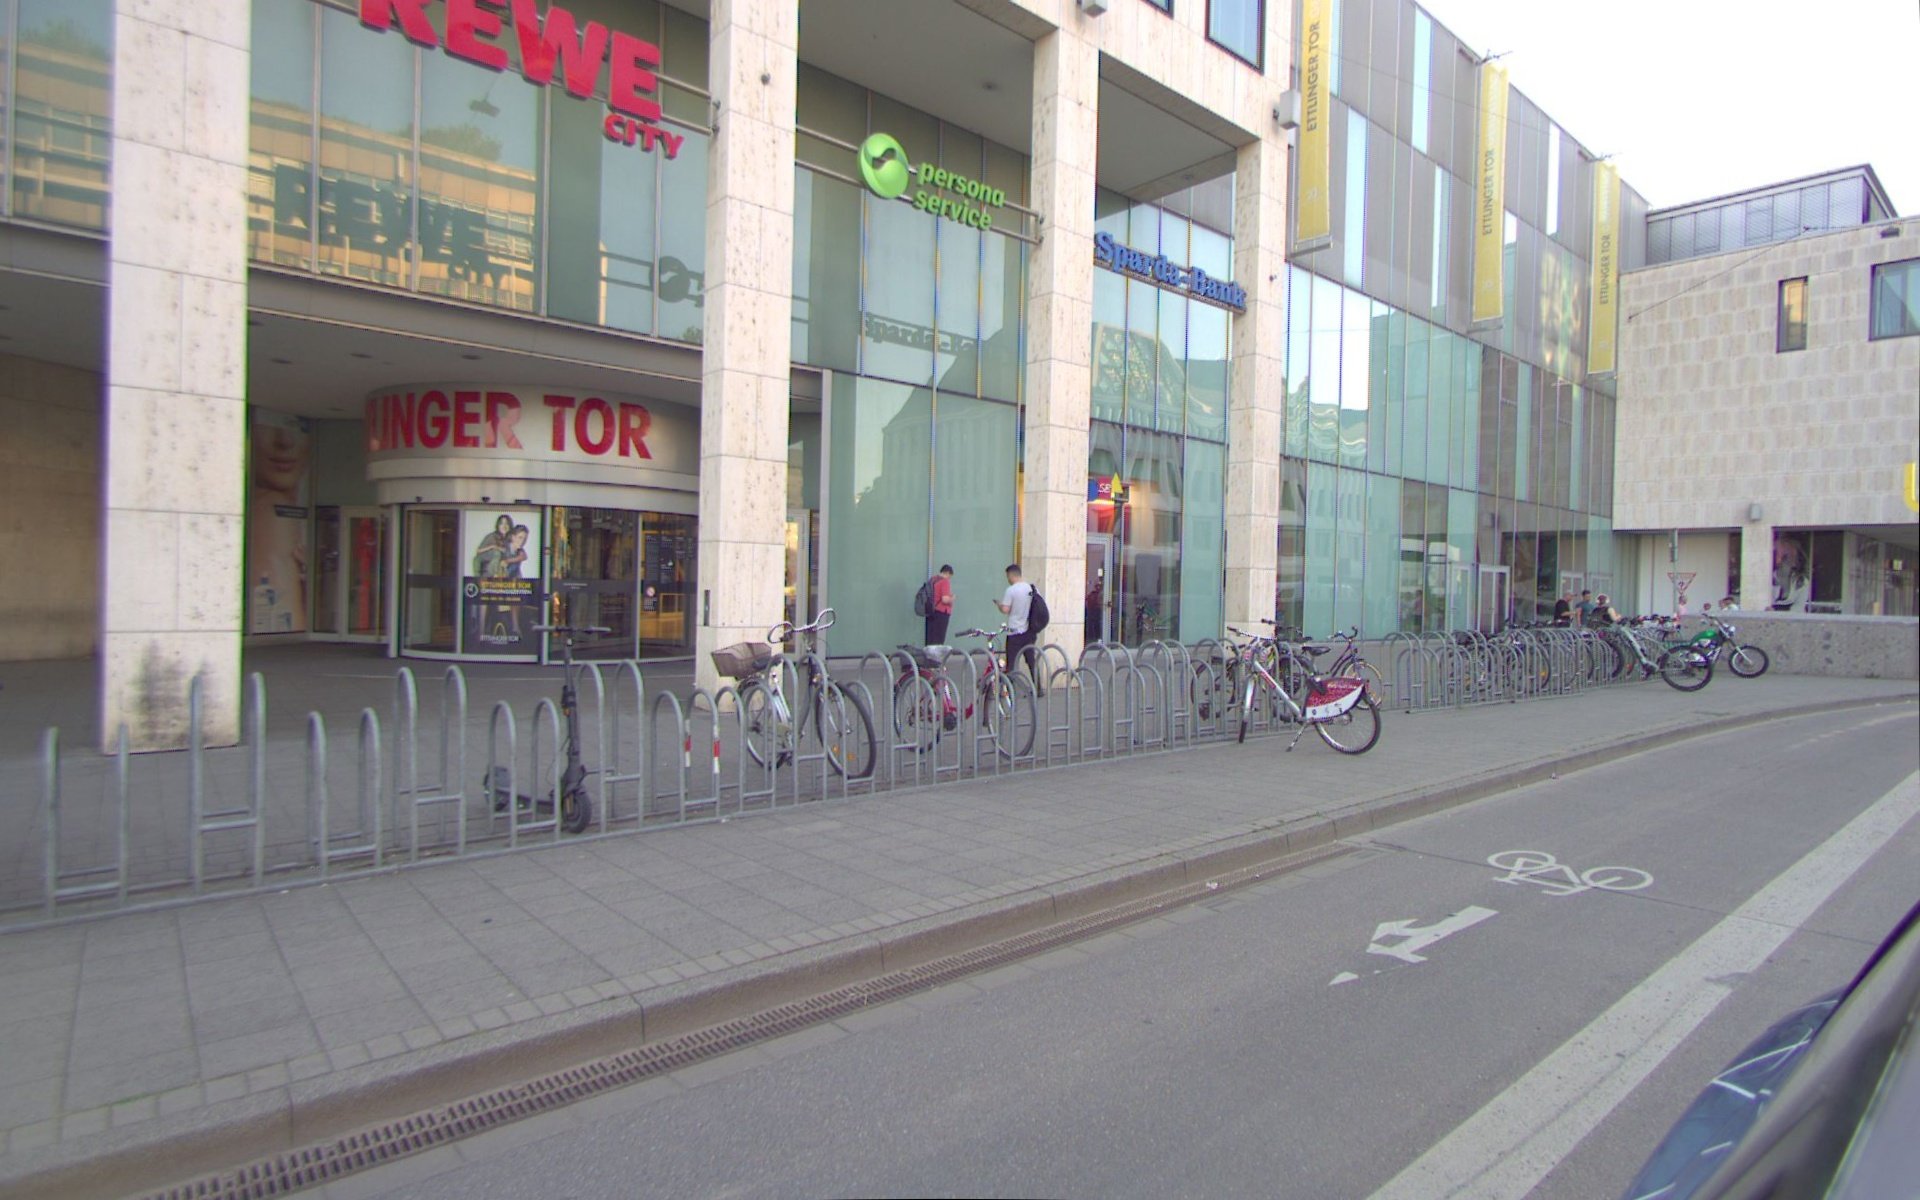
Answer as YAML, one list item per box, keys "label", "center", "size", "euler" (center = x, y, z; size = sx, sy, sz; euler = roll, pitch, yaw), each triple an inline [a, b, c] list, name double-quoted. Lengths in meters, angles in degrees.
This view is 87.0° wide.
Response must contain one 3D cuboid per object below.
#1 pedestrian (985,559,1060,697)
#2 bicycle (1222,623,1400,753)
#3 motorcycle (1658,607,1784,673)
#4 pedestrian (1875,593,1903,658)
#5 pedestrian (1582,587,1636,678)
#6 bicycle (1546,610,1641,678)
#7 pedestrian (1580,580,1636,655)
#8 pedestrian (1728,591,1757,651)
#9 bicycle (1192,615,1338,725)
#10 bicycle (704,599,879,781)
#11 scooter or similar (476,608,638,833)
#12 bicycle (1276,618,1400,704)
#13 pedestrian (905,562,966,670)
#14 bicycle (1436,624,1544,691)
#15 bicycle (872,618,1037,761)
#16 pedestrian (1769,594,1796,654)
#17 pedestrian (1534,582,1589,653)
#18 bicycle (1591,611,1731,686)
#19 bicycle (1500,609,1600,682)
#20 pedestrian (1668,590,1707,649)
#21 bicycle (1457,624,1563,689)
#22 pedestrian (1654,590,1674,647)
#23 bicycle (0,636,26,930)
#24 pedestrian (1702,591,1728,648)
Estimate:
- label: "pedestrian"
  center: [0.805, 0.343, 13.029]
  size: [0.618, 1.713, 0.707]
  euler: [1, 1, -40]
- label: "bicycle"
  center: [3.169, 0.758, 9.248]
  size: [0.458, 1.077, 1.518]
  euler: [1, -2, -39]
- label: "motorcycle"
  center: [15.577, 0.791, 20.767]
  size: [0.472, 1.239, 2.004]
  euler: [1, 1, -43]
- label: "pedestrian"
  center: [25.555, 0.696, 27.831]
  size: [0.483, 1.765, 0.455]
  euler: [1, 1, -38]
- label: "pedestrian"
  center: [12.354, 0.599, 19.275]
  size: [0.802, 1.663, 0.640]
  euler: [2, 1, 31]
- label: "bicycle"
  center: [11.392, 0.770, 18.220]
  size: [0.509, 1.179, 1.344]
  euler: [1, -2, -41]
- label: "pedestrian"
  center: [15.314, 0.404, 23.935]
  size: [0.804, 1.717, 0.699]
  euler: [1, 1, -3]
- label: "pedestrian"
  center: [23.594, 0.624, 30.514]
  size: [0.644, 1.765, 0.494]
  euler: [1, 1, -38]
- label: "bicycle"
  center: [3.377, 0.741, 11.310]
  size: [0.569, 1.138, 1.519]
  euler: [1, -2, -36]
- label: "bicycle"
  center: [-1.308, 0.623, 7.667]
  size: [0.607, 1.243, 1.517]
  euler: [1, -2, -41]
- label: "scooter or similar"
  center: [-2.521, 0.681, 6.276]
  size: [0.484, 1.214, 1.194]
  euler: [1, 1, -44]
- label: "bicycle"
  center: [5.011, 0.780, 13.450]
  size: [1.439, 1.078, 0.572]
  euler: [-1, -2, 39]
- label: "pedestrian"
  center: [-0.391, 0.247, 16.225]
  size: [0.695, 1.672, 0.629]
  euler: [1, 1, -40]
- label: "bicycle"
  center: [7.943, 0.842, 15.207]
  size: [0.509, 0.944, 1.344]
  euler: [1, -2, -41]
- label: "bicycle"
  center: [-0.077, 0.712, 8.670]
  size: [0.543, 1.120, 1.516]
  euler: [1, -2, -43]
- label: "pedestrian"
  center: [24.605, 0.723, 30.267]
  size: [0.483, 1.765, 0.504]
  euler: [1, 1, -38]
- label: "pedestrian"
  center: [14.523, 0.412, 24.456]
  size: [0.804, 1.668, 0.741]
  euler: [1, 1, -4]
- label: "bicycle"
  center: [11.564, 0.774, 16.745]
  size: [0.458, 1.161, 1.837]
  euler: [1, -2, -39]
- label: "bicycle"
  center: [9.829, 0.737, 16.896]
  size: [0.509, 1.179, 1.344]
  euler: [1, -2, -41]
- label: "pedestrian"
  center: [22.276, 0.585, 30.997]
  size: [0.644, 1.765, 0.794]
  euler: [1, 1, -38]
- label: "bicycle"
  center: [8.453, 0.854, 15.586]
  size: [0.509, 0.944, 1.344]
  euler: [1, -2, -41]
- label: "pedestrian"
  center: [21.986, 0.584, 31.613]
  size: [0.444, 1.765, 0.364]
  euler: [1, 1, -38]
- label: "bicycle"
  center: [-4.556, 0.729, 4.477]
  size: [1.768, 1.092, 0.475]
  euler: [3, 1, 43]
- label: "pedestrian"
  center: [23.655, 0.612, 31.706]
  size: [0.539, 1.765, 0.494]
  euler: [1, 1, -38]
